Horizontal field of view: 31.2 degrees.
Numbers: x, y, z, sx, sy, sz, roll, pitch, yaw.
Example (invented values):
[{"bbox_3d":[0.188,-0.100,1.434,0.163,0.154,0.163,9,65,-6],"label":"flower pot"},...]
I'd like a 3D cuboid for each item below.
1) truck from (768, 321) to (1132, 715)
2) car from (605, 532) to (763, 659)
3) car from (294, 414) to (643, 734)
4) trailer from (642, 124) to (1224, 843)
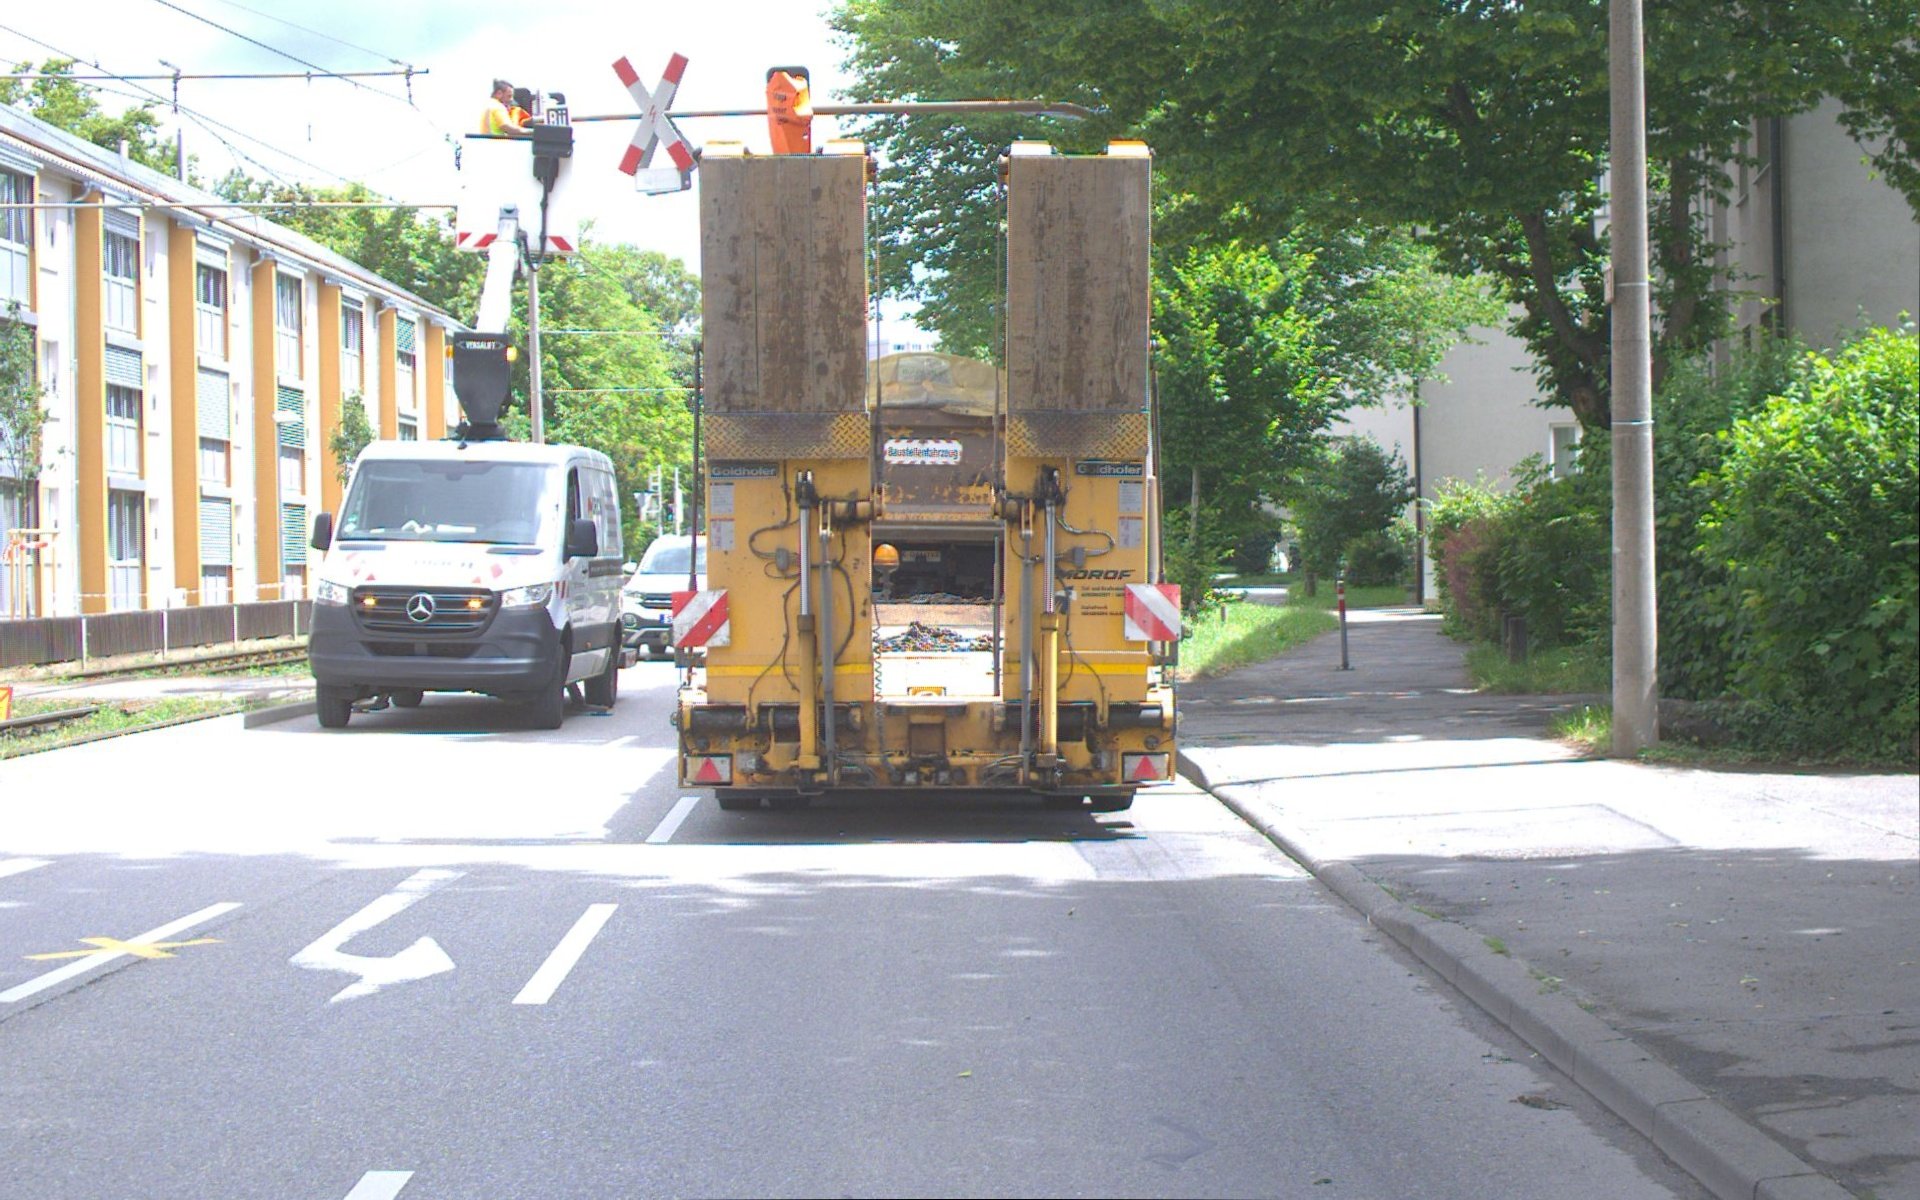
[{"bbox_3d":[-0.056,-0.753,31.919,2.917,3.156,7.680,1,1,0],"label":"truck"},{"bbox_3d":[-3.506,-0.091,44.204,1.718,1.547,3.917,1,1,0],"label":"car"},{"bbox_3d":[-4.042,-0.265,29.373,1.993,2.422,6.322,0,1,1],"label":"car"},{"bbox_3d":[-0.120,-0.686,22.562,2.822,3.512,11.052,1,1,0],"label":"trailer"}]
